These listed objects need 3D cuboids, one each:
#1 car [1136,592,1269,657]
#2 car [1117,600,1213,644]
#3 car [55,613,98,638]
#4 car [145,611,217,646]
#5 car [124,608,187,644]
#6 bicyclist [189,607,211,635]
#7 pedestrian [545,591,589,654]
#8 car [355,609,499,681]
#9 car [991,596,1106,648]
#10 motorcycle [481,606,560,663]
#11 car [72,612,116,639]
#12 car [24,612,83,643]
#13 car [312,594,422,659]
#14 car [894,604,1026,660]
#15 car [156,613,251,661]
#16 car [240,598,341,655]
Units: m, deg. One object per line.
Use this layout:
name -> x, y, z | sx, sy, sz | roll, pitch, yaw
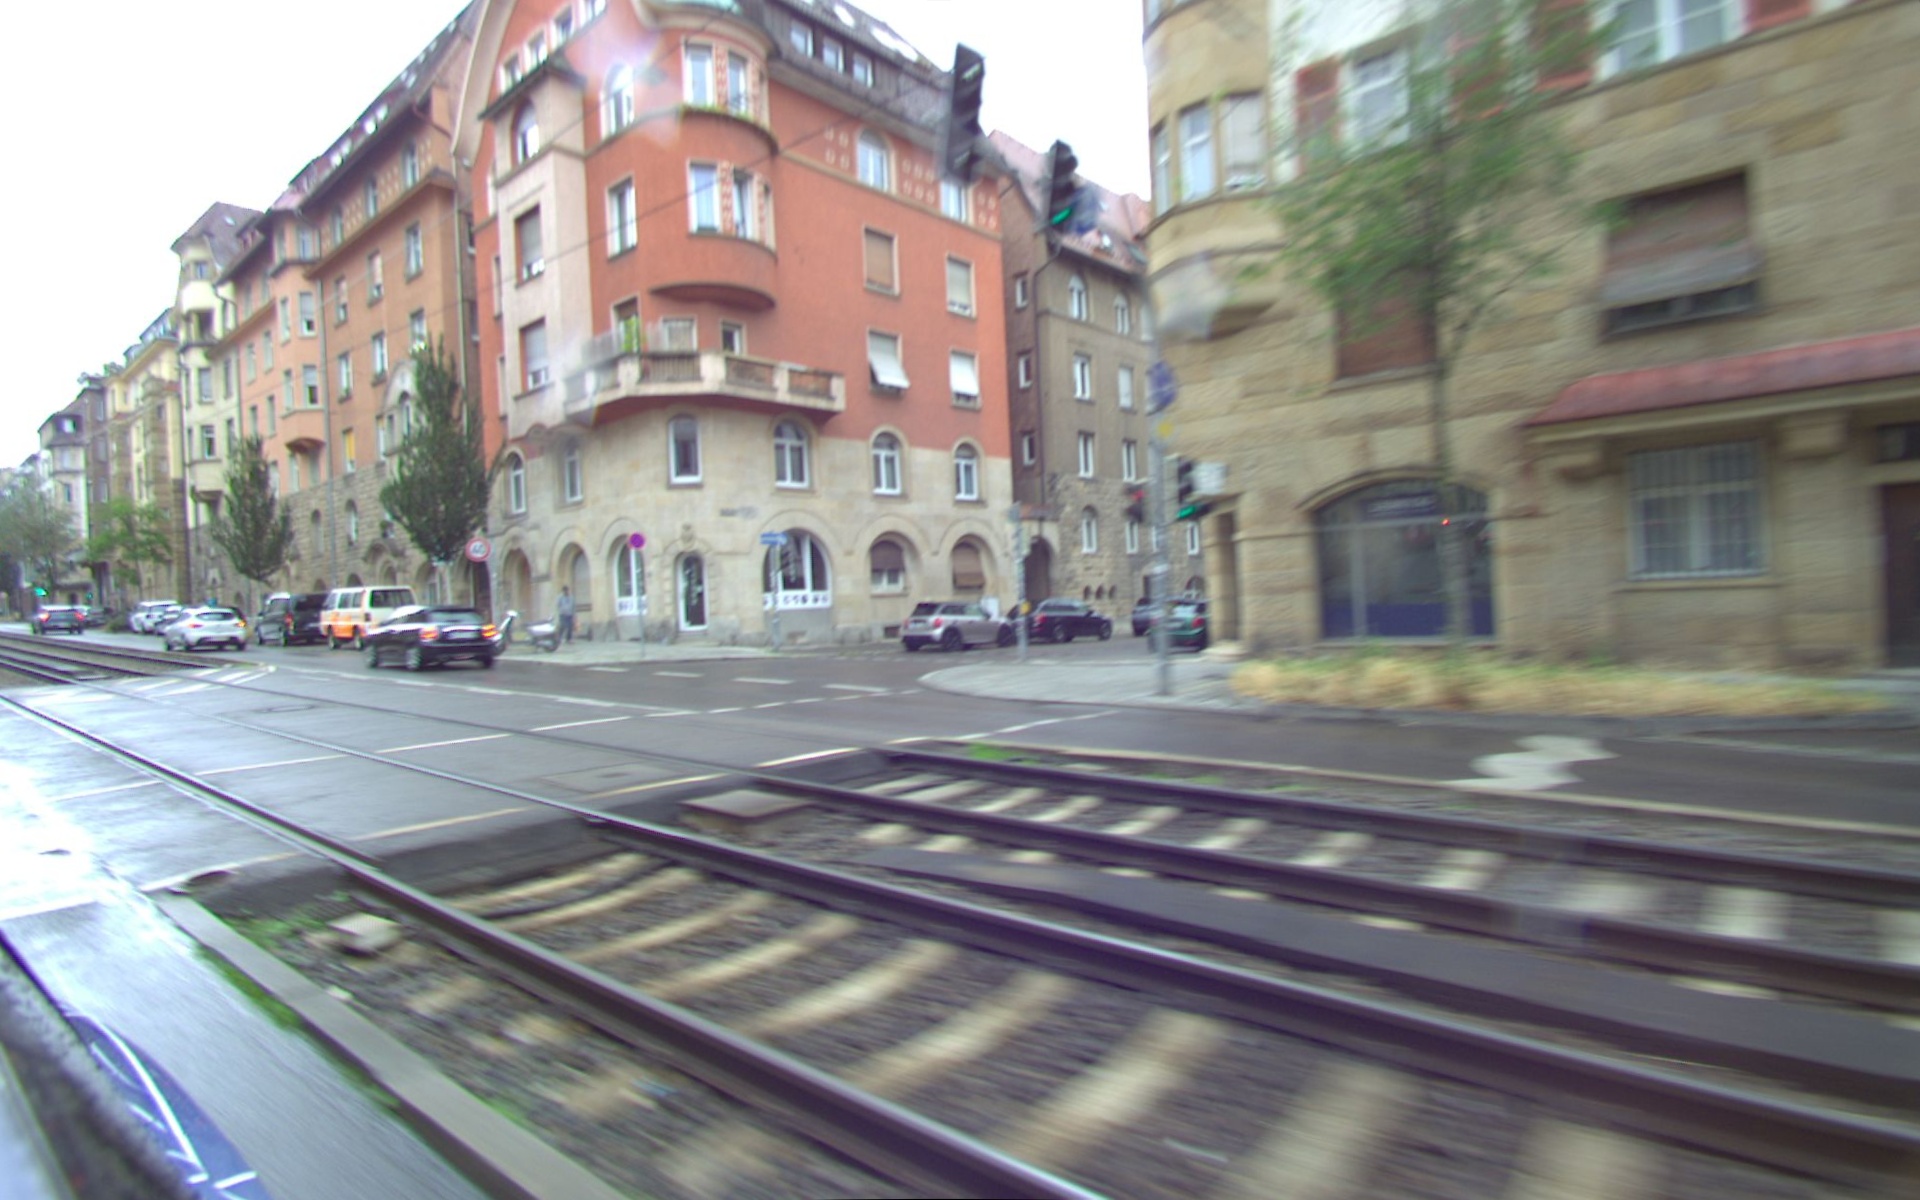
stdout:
car -> 6.539, 0.597, 27.061 | 1.997, 1.586, 3.949 | -1, 0, 38
car -> 8.086, 0.833, 39.753 | 1.999, 1.586, 3.945 | -1, 0, 42
car -> -60.265, 1.709, 68.991 | 4.044, 1.462, 1.736 | 0, 4, 43
car -> -37.559, 1.330, 48.761 | 4.594, 1.502, 1.738 | -1, 3, 40
car -> -41.749, 1.312, 52.474 | 4.258, 1.684, 1.737 | -1, 3, 41
bicyclist -> -44.176, 1.220, 58.823 | 0.774, 1.613, 0.883 | -1, 0, 41
pedestrian -> -11.459, 0.646, 29.486 | 0.892, 1.731, 0.710 | -1, 6, 42
car -> -11.928, 0.959, 22.560 | 3.733, 1.474, 1.636 | -1, -1, 42
car -> 2.971, 0.681, 33.342 | 1.997, 1.586, 3.950 | -1, 0, 37
motorcycle -> -11.159, 0.866, 25.758 | 1.754, 1.385, 0.770 | -1, 0, -17
car -> -55.673, 1.608, 65.038 | 3.712, 1.493, 1.695 | 0, 4, 43
car -> -50.757, 1.508, 56.622 | 4.126, 1.629, 1.902 | -1, 0, 40
car -> -19.220, 0.808, 32.728 | 4.473, 1.945, 1.711 | -1, 0, 40
car -> 0.056, 0.885, 29.952 | 1.746, 1.478, 3.945 | -1, 0, 41
car -> -26.079, 1.230, 34.836 | 4.059, 1.514, 1.763 | -1, 0, 40
car -> -24.838, 0.938, 37.464 | 4.830, 1.945, 1.886 | 0, 0, 41
